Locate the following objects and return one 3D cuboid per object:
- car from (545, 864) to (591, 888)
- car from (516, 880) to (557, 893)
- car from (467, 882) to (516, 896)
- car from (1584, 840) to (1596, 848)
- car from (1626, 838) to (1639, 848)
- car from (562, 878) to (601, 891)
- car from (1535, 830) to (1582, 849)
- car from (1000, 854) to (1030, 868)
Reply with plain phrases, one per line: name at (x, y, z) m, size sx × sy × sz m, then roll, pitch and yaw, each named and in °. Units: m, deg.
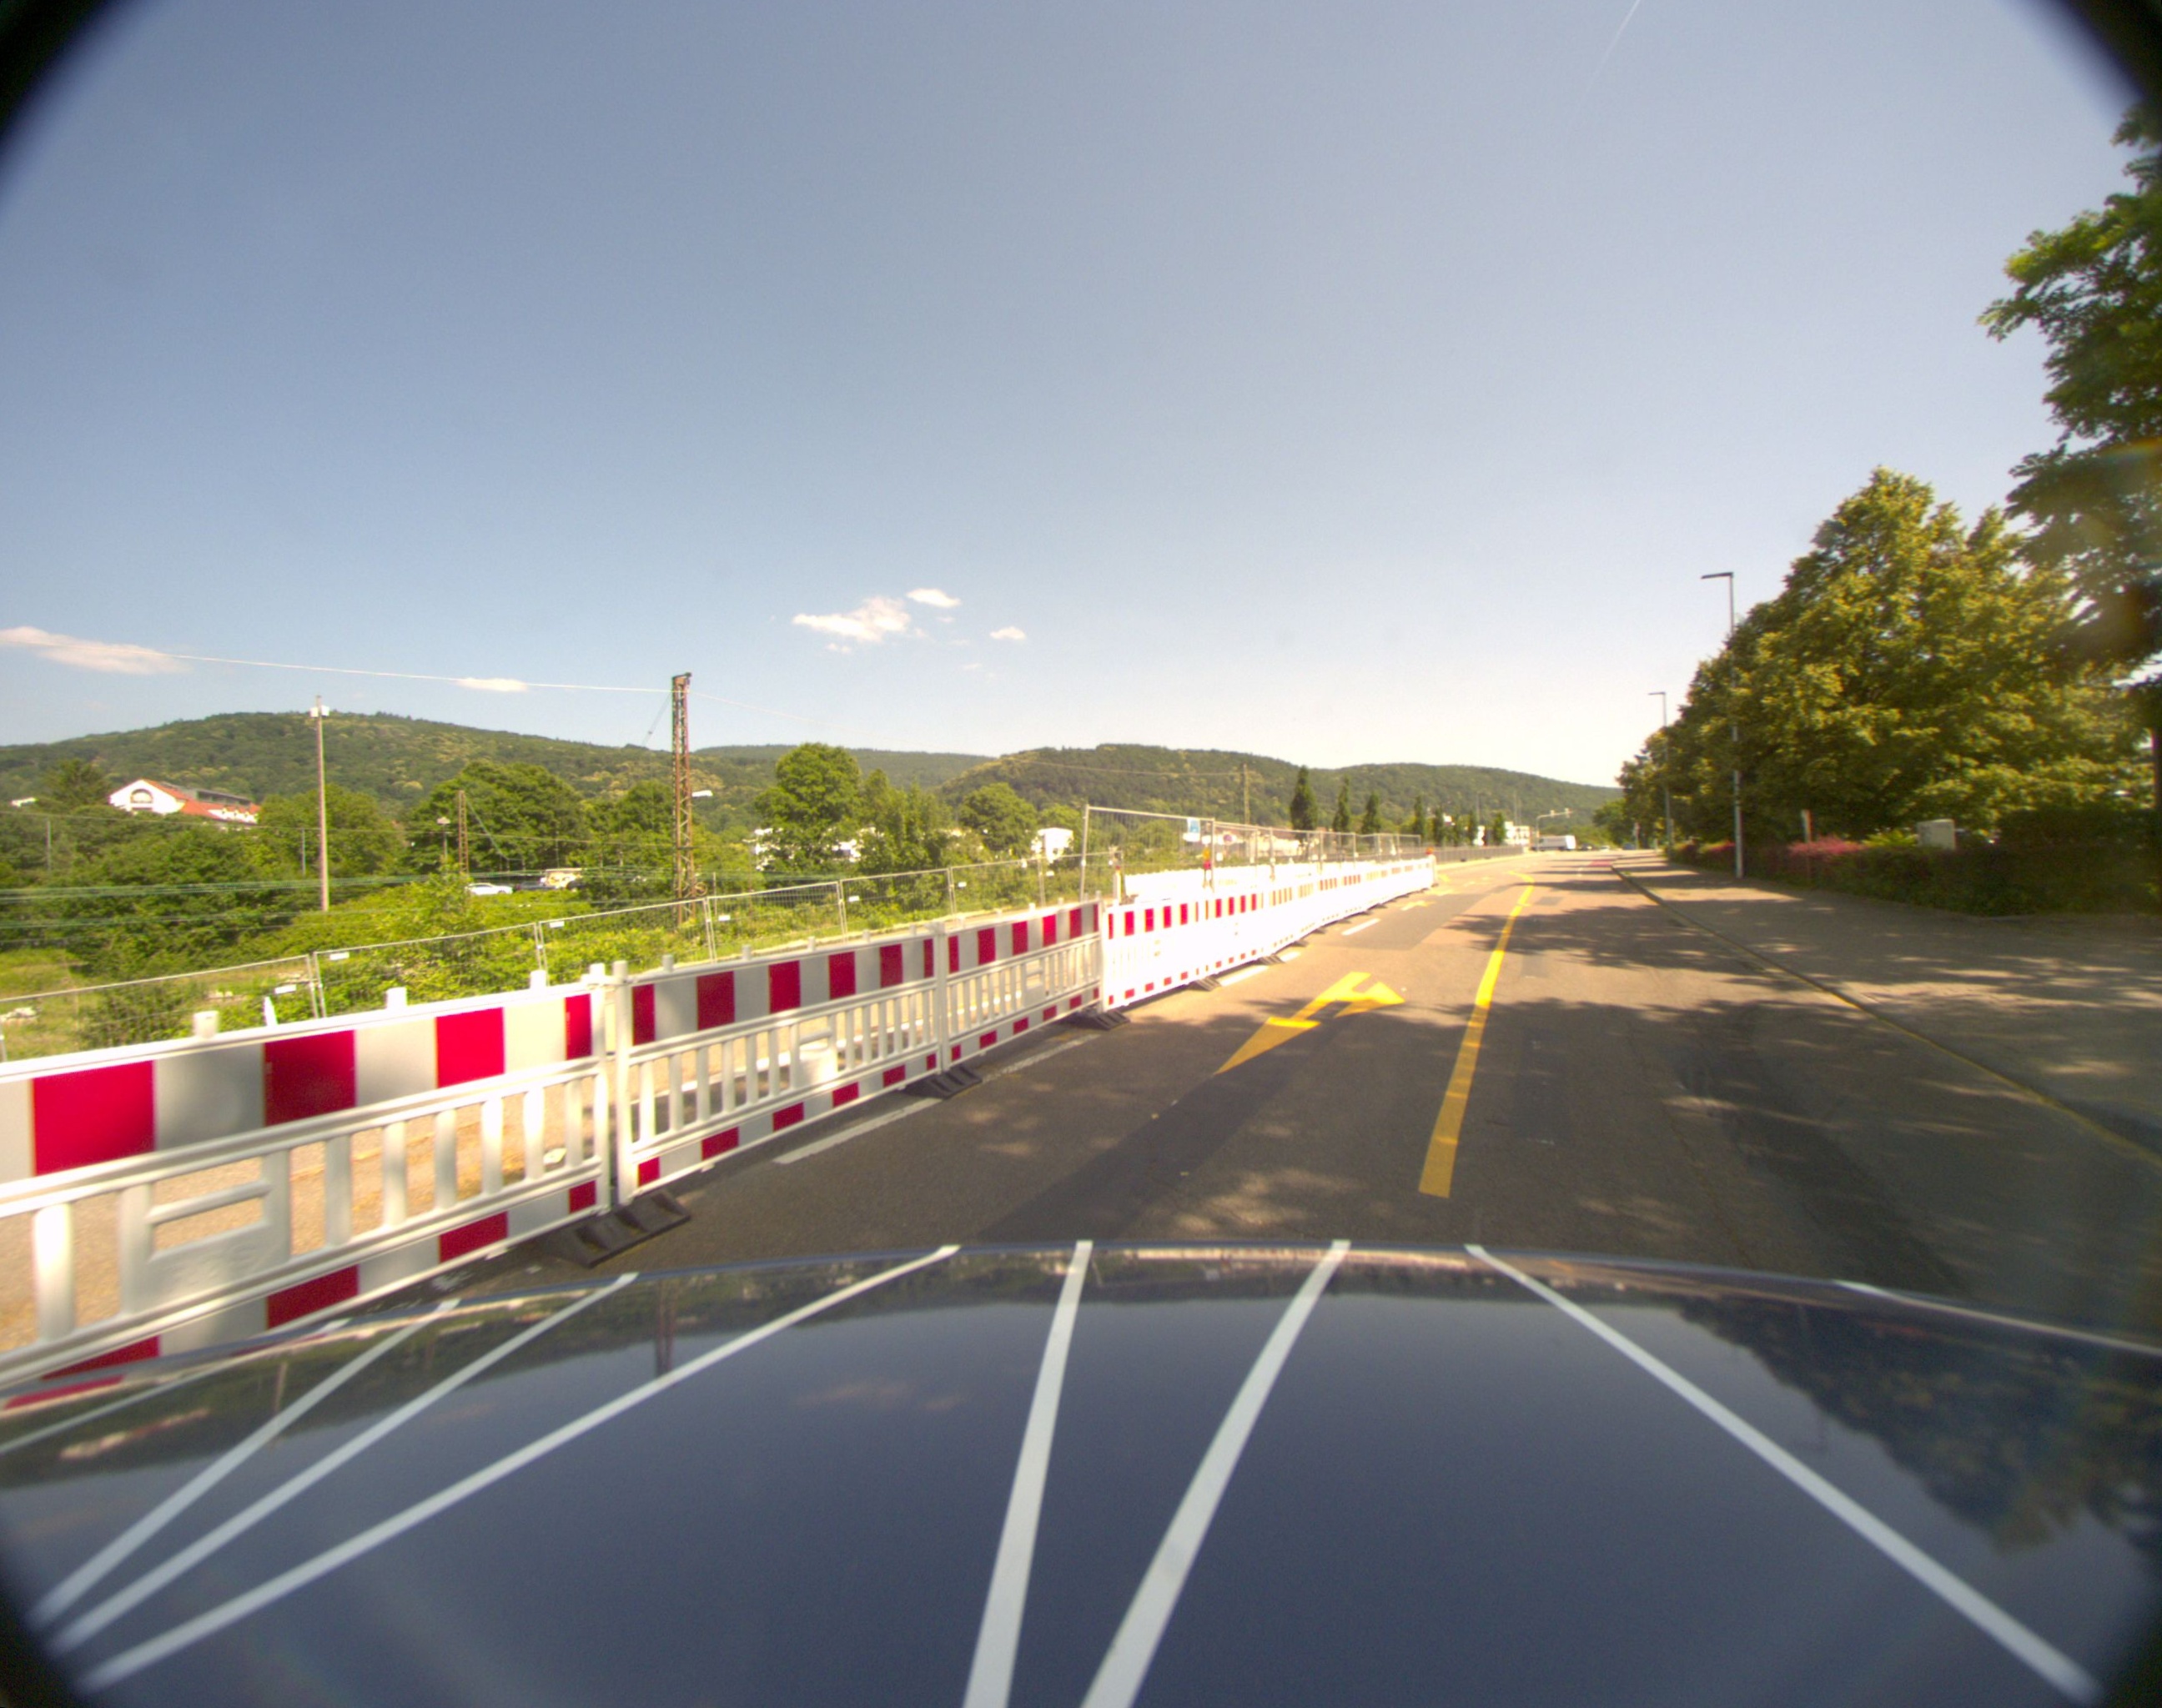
car at (-64.646, 2.737, 95.810) m, size 4.648 × 2.835 × 1.861 m, roll -2°, pitch 0°, yaw -35°
car at (-65.959, 3.968, 92.096) m, size 3.848 × 1.359 × 1.779 m, roll -2°, pitch 0°, yaw -27°
car at (-69.895, 4.129, 90.147) m, size 4.321 × 1.359 × 1.862 m, roll -2°, pitch 0°, yaw -26°
car at (83.154, -1.656, 124.116) m, size 1.606 × 1.248 × 3.690 m, roll -2°, pitch 0°, yaw 34°
car at (92.072, -1.879, 126.948) m, size 1.606 × 1.527 × 3.690 m, roll -2°, pitch 0°, yaw 34°
car at (-61.747, 3.769, 94.053) m, size 3.848 × 1.359 × 1.779 m, roll -2°, pitch 0°, yaw -29°
car at (73.159, -2.226, 116.562) m, size 2.315 × 2.331 × 5.616 m, roll -5°, pitch 0°, yaw -27°
car at (-12.583, 1.356, 144.809) m, size 5.528 × 2.089 × 2.131 m, roll -4°, pitch -3°, yaw -44°
